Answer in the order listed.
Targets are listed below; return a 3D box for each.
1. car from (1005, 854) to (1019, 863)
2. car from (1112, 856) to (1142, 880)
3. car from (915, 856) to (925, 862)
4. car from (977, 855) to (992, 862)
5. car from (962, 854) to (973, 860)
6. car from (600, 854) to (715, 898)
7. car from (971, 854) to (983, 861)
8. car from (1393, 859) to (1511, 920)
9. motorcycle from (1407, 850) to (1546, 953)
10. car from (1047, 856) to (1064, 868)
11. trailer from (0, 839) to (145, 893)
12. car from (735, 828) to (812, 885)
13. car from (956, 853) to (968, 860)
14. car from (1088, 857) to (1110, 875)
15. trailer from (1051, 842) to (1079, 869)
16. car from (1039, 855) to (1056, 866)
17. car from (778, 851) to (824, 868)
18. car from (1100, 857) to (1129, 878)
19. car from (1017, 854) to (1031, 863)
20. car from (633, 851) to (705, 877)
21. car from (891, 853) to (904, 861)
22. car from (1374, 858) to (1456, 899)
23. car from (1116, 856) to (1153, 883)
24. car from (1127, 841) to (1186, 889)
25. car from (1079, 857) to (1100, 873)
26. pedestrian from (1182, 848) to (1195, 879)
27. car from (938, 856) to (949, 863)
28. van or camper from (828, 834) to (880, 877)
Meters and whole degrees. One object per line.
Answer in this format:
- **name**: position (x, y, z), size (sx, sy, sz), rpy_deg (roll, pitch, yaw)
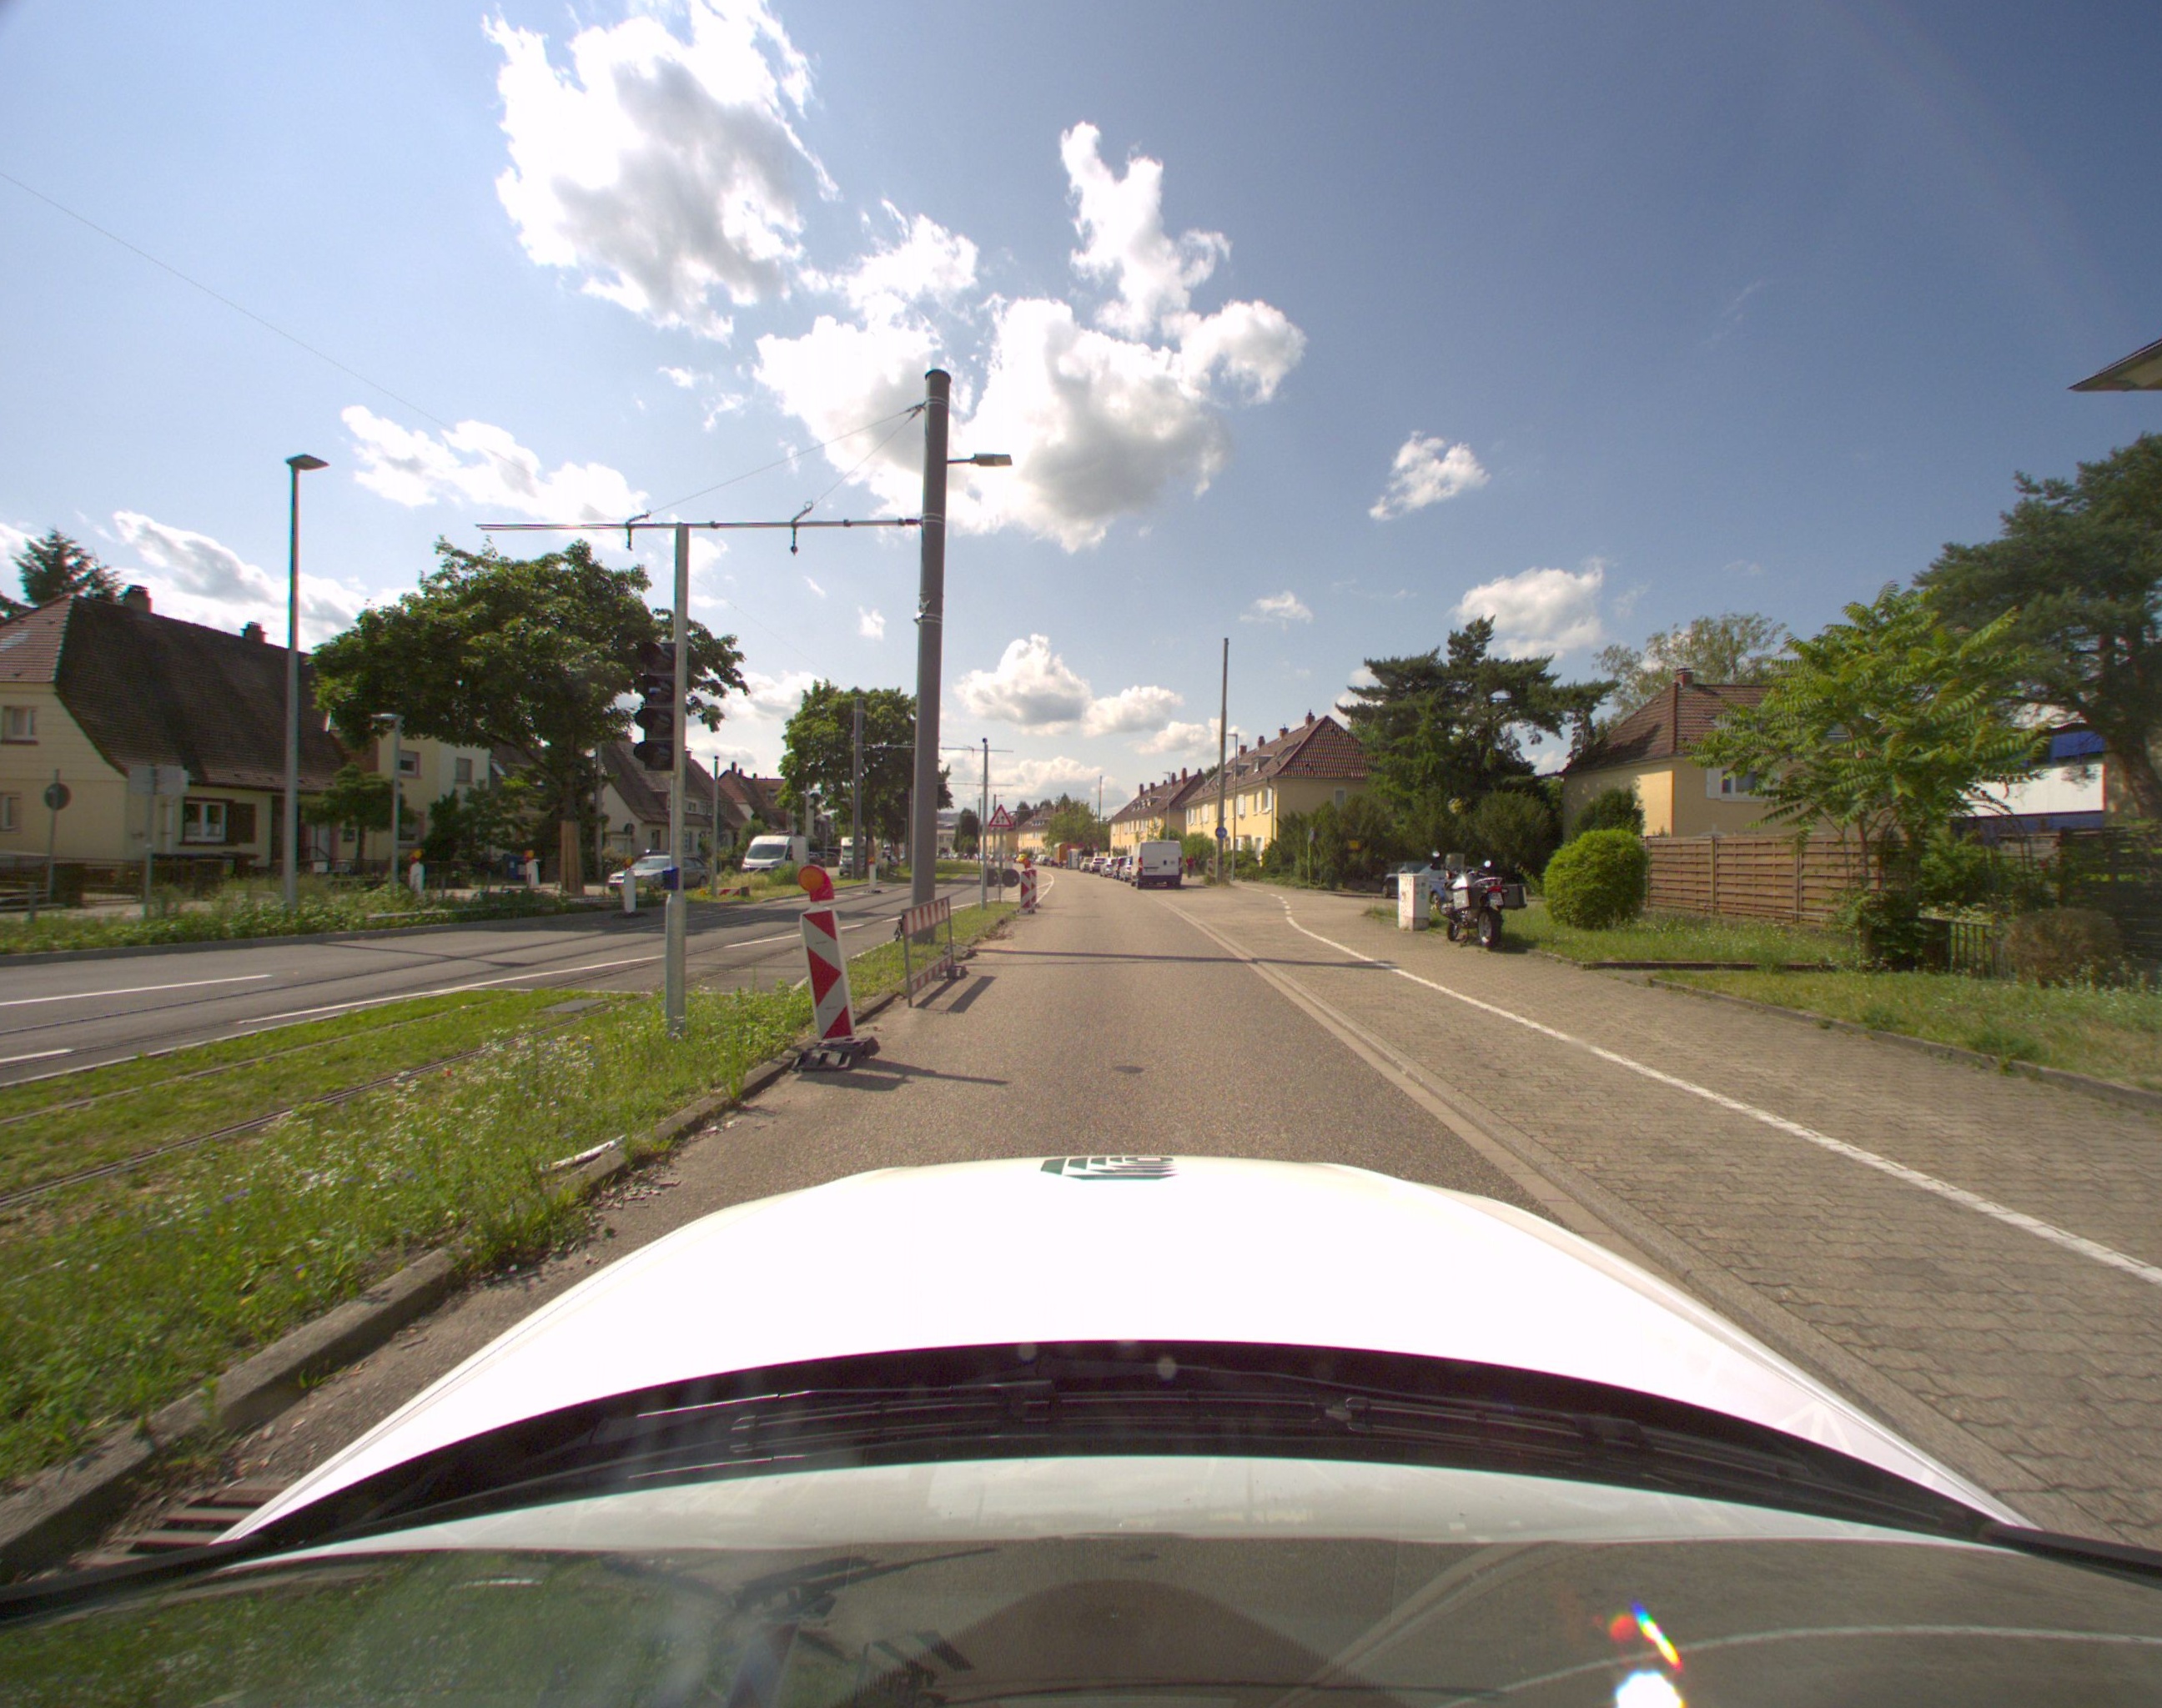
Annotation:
- **car**: position (-12.596, 0.827, 148.105), size (1.641, 1.602, 3.907), rpy_deg (1, 0, -19)
- **car**: position (3.009, 0.882, 54.141), size (1.624, 1.550, 3.806), rpy_deg (0, 0, -2)
- **car**: position (-40.862, 1.304, 206.915), size (1.731, 1.389, 4.091), rpy_deg (1, 0, -22)
- **car**: position (-20.586, 0.962, 173.637), size (1.806, 1.458, 4.730), rpy_deg (-1, 0, -22)
- **car**: position (-26.077, 0.720, 186.966), size (1.770, 1.417, 3.972), rpy_deg (-1, 1, -21)
- **car**: position (-15.287, 0.755, 29.708), size (1.687, 1.465, 4.753), rpy_deg (1, 0, 0)
- **car**: position (-22.774, 0.708, 178.730), size (1.627, 1.417, 3.972), rpy_deg (-1, 1, -21)
- **car**: position (10.442, 0.932, 23.280), size (1.632, 1.380, 4.293), rpy_deg (1, 2, 4)
- **motorcycle**: position (6.292, 0.700, 13.178), size (1.043, 1.470, 2.587), rpy_deg (-2, 0, 3)
- **car**: position (-3.446, 1.030, 107.955), size (1.578, 1.449, 4.436), rpy_deg (1, 0, -11)
- **trailer**: position (-29.354, 0.303, 22.281), size (5.235, 1.393, 2.025), rpy_deg (1, 0, 2)
- **car**: position (-15.315, 0.134, 40.899), size (2.148, 2.668, 4.911), rpy_deg (1, 0, -2)
- **car**: position (-27.995, 0.592, 191.646), size (1.770, 1.643, 3.972), rpy_deg (-1, 1, -21)
- **car**: position (1.549, 1.039, 71.756), size (1.525, 1.481, 3.803), rpy_deg (0, 0, -5)
- **trailer**: position (-2.010, 0.154, 99.690), size (2.690, 3.226, 5.064), rpy_deg (1, 0, -10)
- **car**: position (-4.820, 0.954, 115.751), size (1.707, 1.449, 4.816), rpy_deg (1, 0, -11)
- **car**: position (-27.539, 0.517, 80.283), size (3.988, 1.530, 1.867), rpy_deg (1, 0, -11)
- **car**: position (2.446, 0.945, 59.921), size (1.745, 1.497, 4.381), rpy_deg (0, 0, -2)
- **car**: position (-9.694, 0.752, 138.031), size (1.639, 1.482, 3.912), rpy_deg (-2, 1, -15)
- **car**: position (-25.896, 0.624, 51.226), size (3.610, 1.522, 1.668), rpy_deg (1, -1, -4)
- **car**: position (-36.482, 0.539, 161.836), size (1.817, 1.586, 4.536), rpy_deg (-1, 1, -20)
- **car**: position (13.350, 0.964, 32.771), size (1.624, 1.547, 3.805), rpy_deg (1, -1, -2)
- **car**: position (3.195, 0.899, 49.302), size (1.704, 1.504, 4.248), rpy_deg (0, 0, -4)
- **car**: position (3.601, 0.491, 39.966), size (2.269, 2.183, 6.366), rpy_deg (0, 0, 0)
- **car**: position (0.755, 1.024, 78.061), size (1.462, 1.502, 4.099), rpy_deg (0, 0, -7)
- **pedestrian**: position (7.115, 0.629, 53.942), size (0.771, 2.014, 0.761), rpy_deg (1, 0, -3)
- **car**: position (-30.547, 1.285, 181.264), size (1.671, 1.449, 3.932), rpy_deg (-2, 0, -20)
- **van or camper**: position (-16.782, 0.095, 60.619), size (2.372, 2.970, 7.282), rpy_deg (0, 0, -5)
